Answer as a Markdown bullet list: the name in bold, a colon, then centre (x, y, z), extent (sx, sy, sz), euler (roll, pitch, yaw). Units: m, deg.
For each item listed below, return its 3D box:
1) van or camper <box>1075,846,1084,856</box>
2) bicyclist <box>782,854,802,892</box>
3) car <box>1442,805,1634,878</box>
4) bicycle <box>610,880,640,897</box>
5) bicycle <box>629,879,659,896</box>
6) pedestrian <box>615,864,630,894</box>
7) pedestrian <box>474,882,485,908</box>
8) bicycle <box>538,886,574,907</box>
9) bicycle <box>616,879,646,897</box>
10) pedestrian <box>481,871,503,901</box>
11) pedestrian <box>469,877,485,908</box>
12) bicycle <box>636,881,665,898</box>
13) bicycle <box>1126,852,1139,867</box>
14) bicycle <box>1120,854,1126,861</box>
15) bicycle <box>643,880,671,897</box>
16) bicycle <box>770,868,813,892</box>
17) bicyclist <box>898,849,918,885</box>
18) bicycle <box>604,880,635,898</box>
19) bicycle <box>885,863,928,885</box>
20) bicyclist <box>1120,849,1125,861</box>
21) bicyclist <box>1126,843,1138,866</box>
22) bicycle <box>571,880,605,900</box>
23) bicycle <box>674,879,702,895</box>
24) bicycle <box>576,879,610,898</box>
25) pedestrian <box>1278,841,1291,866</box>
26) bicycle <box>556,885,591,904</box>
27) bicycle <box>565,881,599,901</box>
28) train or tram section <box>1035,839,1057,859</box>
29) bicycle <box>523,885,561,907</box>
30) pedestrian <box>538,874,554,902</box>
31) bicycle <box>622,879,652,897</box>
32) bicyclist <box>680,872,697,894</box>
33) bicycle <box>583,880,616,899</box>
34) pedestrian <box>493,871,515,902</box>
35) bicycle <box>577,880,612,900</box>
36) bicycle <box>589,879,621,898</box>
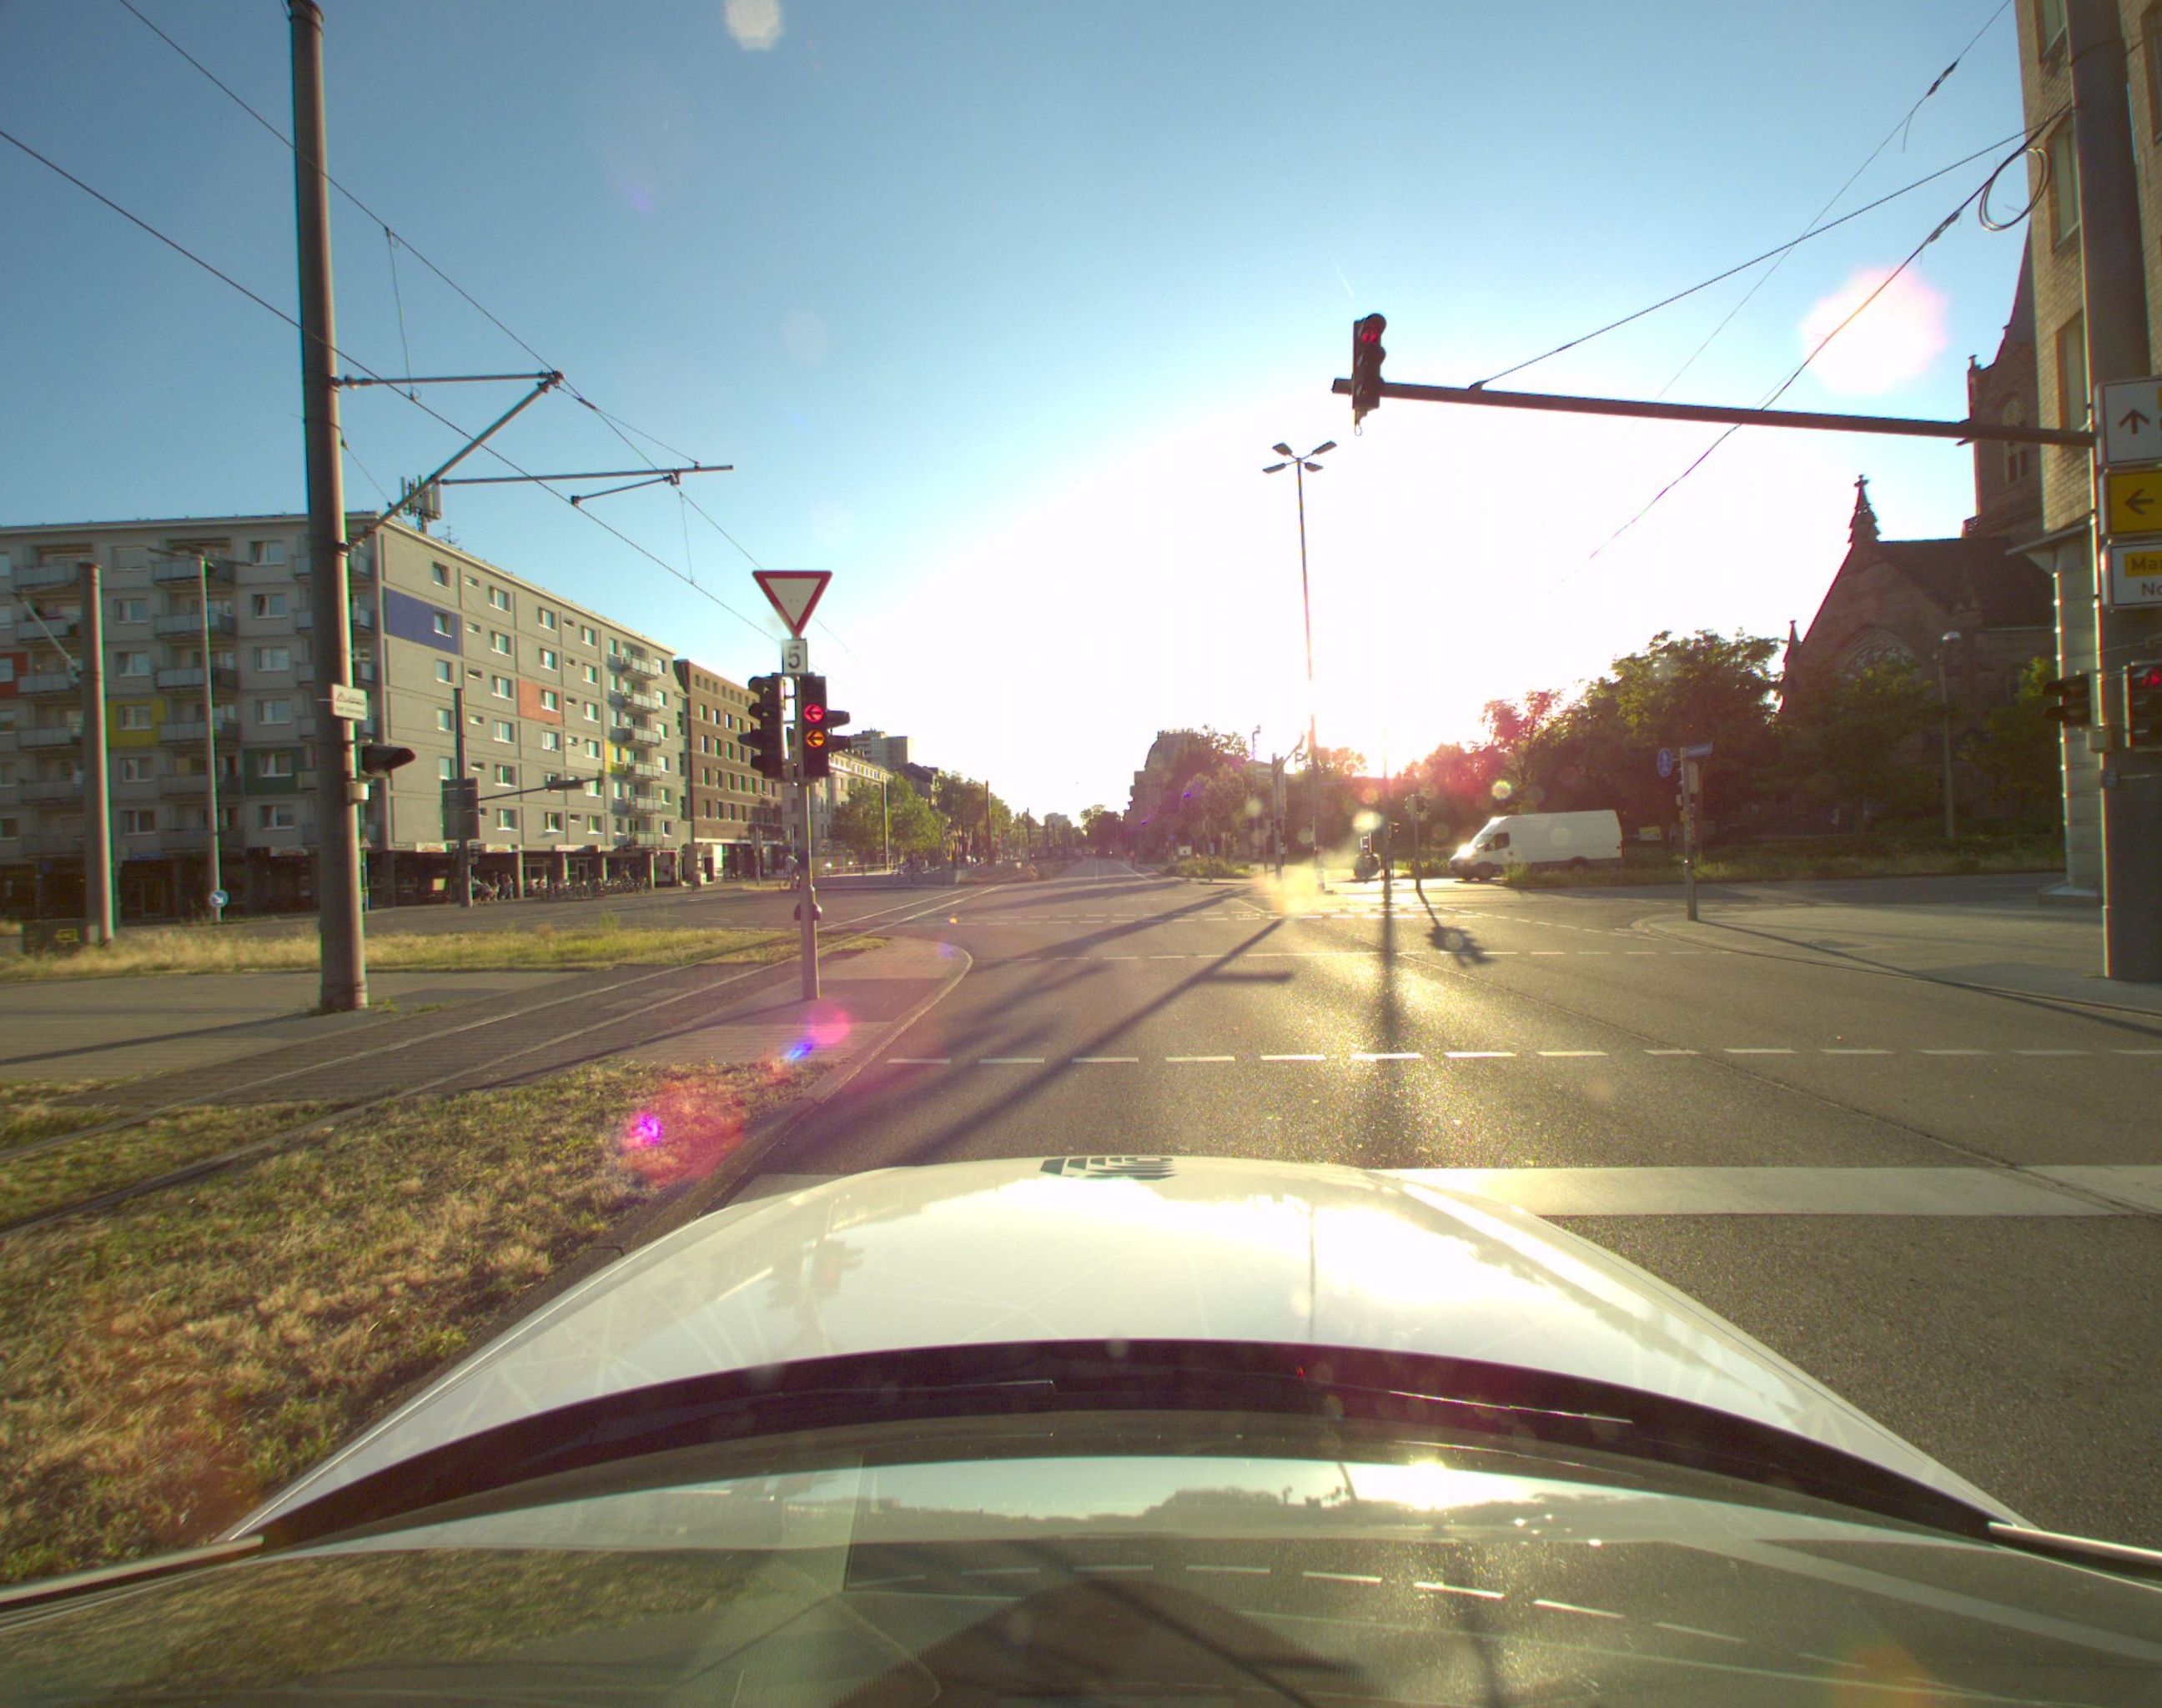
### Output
- **van or camper**: centre (-0.367, -0.927, 236.927), extent (2.441, 2.770, 5.600), euler (-2, 0, 0)
- **bicyclist**: centre (-14.156, 0.901, 39.930), extent (0.793, 1.818, 0.644), euler (-2, 0, -11)
- **car**: centre (19.587, -0.528, 35.170), extent (6.981, 2.827, 2.095), euler (-2, 0, 3)
- **bicycle**: centre (-31.107, 2.354, 55.555), extent (1.754, 1.119, 0.568), euler (-2, 0, 2)
- **bicycle**: centre (-30.921, 2.364, 57.633), extent (1.683, 1.179, 0.749), euler (-2, 0, 3)
- **pedestrian**: centre (-34.652, 1.872, 61.520), extent (0.599, 2.178, 0.792), euler (-2, 0, 1)
- **pedestrian**: centre (-32.614, 2.197, 44.159), extent (0.383, 1.383, 0.392), euler (-2, 0, -26)
- **bicycle**: centre (-32.106, 2.601, 49.845), extent (1.770, 1.142, 0.608), euler (-2, 0, 1)
- **bicycle**: centre (-31.045, 2.335, 56.189), extent (1.719, 1.124, 0.634), euler (-2, -1, 3)
- **pedestrian**: centre (-35.911, 1.941, 49.669), extent (0.826, 1.812, 0.718), euler (-2, 0, -9)
- **pedestrian**: centre (-32.331, 2.038, 43.571), extent (0.575, 1.620, 0.598), euler (-2, 0, -29)
- **bicycle**: centre (-30.856, 2.543, 58.406), extent (1.683, 1.170, 0.749), euler (-2, 0, 3)
- **bicycle**: centre (5.140, 0.515, 81.571), extent (1.094, 1.399, 2.833), euler (-2, 0, 2)
- **bicycle**: centre (7.190, 0.600, 140.608), extent (0.921, 1.111, 2.334), euler (-2, 0, 2)
- **bicycle**: centre (-30.793, 2.500, 59.141), extent (1.683, 1.144, 0.697), euler (-2, 0, 3)
- **bicycle**: centre (-14.181, 1.289, 39.948), extent (1.902, 1.075, 0.630), euler (-2, 0, -12)
- **bicyclist**: centre (-9.061, 0.673, 42.683), extent (0.875, 1.818, 0.536), euler (-2, 0, -7)
- **bicycle**: centre (-31.140, 2.340, 54.969), extent (1.748, 1.117, 0.552), euler (-2, 0, 2)
- **bicycle**: centre (-9.148, 1.068, 42.683), extent (2.162, 1.083, 0.537), euler (-1, -1, -8)
- **bicyclist**: centre (7.153, 0.138, 140.584), extent (0.922, 2.013, 0.851), euler (-2, 0, 1)
- **bicyclist**: centre (5.126, 0.062, 81.520), extent (1.078, 2.276, 0.986), euler (-2, 0, 1)
- **bicycle**: centre (-31.265, 2.306, 51.652), extent (1.762, 1.182, 0.568), euler (-2, 0, 1)
- **bicycle**: centre (-26.720, 2.236, 55.420), extent (0.503, 0.944, 1.678), euler (-2, 0, 28)
- **bicycle**: centre (-31.815, 2.268, 53.104), extent (1.824, 1.160, 0.640), euler (-2, 0, 1)
- **pedestrian**: centre (15.129, -0.063, 60.591), extent (0.826, 1.803, 0.814), euler (-2, 0, 17)
- **bicycle**: centre (-31.466, 2.509, 50.477), extent (1.750, 1.139, 0.600), euler (-2, 0, 2)
- **bicycle**: centre (-31.289, 2.295, 51.049), extent (1.759, 1.167, 0.540), euler (-2, 0, 2)
- **train or tram section**: centre (-7.157, -1.105, 167.302), extent (4.375, 3.849, 11.402), euler (-2, 2, -2)
- **bicycle**: centre (-32.292, 2.525, 48.796), extent (1.788, 1.208, 0.638), euler (-2, 0, 0)
- **pedestrian**: centre (-33.175, 2.081, 50.471), extent (0.578, 1.684, 0.545), euler (-2, 0, -6)
- **bicycle**: centre (-30.973, 2.374, 56.875), extent (1.683, 1.153, 0.706), euler (-2, 0, 3)
- **bicyclist**: centre (-26.729, 1.956, 55.410), extent (0.494, 1.426, 0.863), euler (-2, 0, 28)
- **bicycle**: centre (-31.765, 2.338, 53.743), extent (1.769, 1.159, 0.606), euler (-2, 0, 1)
- **pedestrian**: centre (-35.010, 1.961, 49.436), extent (0.785, 1.841, 0.733), euler (-2, 0, -7)
- **bicycle**: centre (-31.247, 2.295, 52.297), extent (1.782, 1.191, 0.652), euler (-2, 0, 1)
- **bicycle**: centre (-31.788, 2.309, 54.392), extent (1.764, 1.136, 0.606), euler (-2, 0, 2)
